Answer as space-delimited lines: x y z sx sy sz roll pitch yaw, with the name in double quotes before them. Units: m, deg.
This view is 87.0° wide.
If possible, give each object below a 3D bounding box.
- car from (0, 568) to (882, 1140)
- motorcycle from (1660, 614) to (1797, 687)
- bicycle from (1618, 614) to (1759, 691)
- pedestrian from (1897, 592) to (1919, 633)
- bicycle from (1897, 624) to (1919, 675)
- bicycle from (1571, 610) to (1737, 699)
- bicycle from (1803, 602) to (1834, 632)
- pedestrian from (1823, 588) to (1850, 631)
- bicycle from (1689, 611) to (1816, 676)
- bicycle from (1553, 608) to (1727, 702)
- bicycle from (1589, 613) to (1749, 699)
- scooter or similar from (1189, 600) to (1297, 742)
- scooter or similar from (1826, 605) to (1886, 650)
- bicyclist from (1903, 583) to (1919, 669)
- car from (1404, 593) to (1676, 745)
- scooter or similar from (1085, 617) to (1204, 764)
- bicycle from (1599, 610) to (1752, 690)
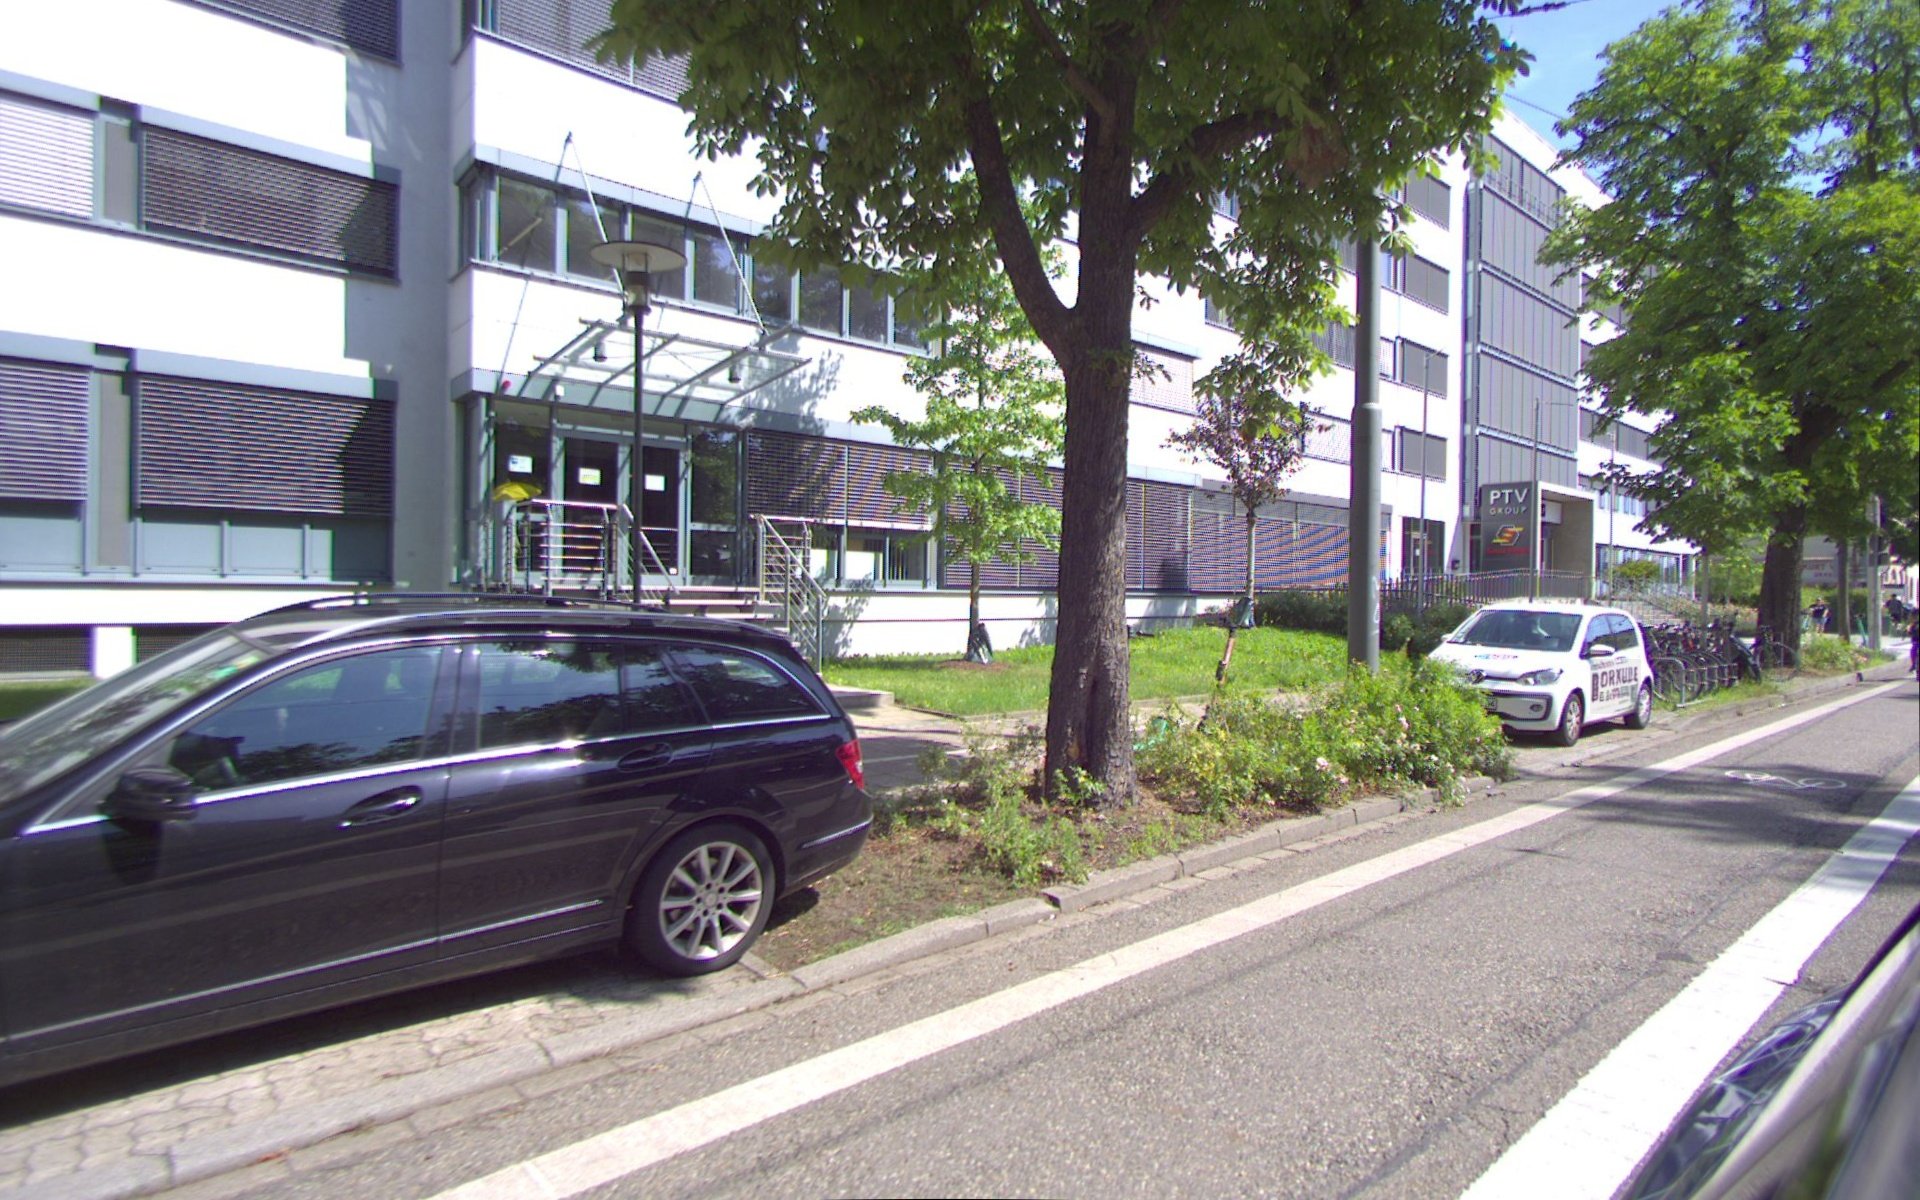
"car" -2.452 0.653 3.817 4.200 1.502 1.632 0 1 -42
"motorcycle" 12.802 0.804 16.894 0.647 1.100 1.727 1 1 -41
"bicycle" 11.607 0.807 16.175 0.628 1.100 1.727 1 1 -41
"pedestrian" 43.496 0.557 46.318 0.889 1.841 1.057 0 0 43
"bicycle" 19.960 1.001 20.696 2.121 0.996 0.611 1 0 -31
"bicycle" 10.095 0.754 14.777 0.674 1.156 1.876 1 1 -41
"bicycle" 33.272 0.631 39.208 2.031 1.132 0.637 0 0 -42
"pedestrian" 33.634 0.350 38.835 0.686 1.582 0.972 3 2 45
"bicycle" 14.666 0.782 18.764 0.775 1.100 1.727 1 1 -41
"bicycle" 9.614 0.732 14.362 0.804 1.184 1.907 1 1 -41
"bicycle" 10.608 0.805 15.202 0.668 1.146 1.852 1 1 -41
"scooter or similar" 2.801 0.662 9.979 1.137 1.318 0.473 0 0 -40
"scooter or similar" 24.439 0.729 27.613 0.663 1.181 1.129 1 0 -38
"bicyclist" 19.915 0.523 20.679 0.968 1.746 0.719 1 0 -31
"car" 6.850 0.682 11.838 3.566 1.490 1.633 0 1 -40
"scooter or similar" 1.634 0.757 8.887 1.137 1.188 0.402 0 0 -41
"bicycle" 10.975 0.733 15.574 0.714 1.100 1.796 1 1 -41
